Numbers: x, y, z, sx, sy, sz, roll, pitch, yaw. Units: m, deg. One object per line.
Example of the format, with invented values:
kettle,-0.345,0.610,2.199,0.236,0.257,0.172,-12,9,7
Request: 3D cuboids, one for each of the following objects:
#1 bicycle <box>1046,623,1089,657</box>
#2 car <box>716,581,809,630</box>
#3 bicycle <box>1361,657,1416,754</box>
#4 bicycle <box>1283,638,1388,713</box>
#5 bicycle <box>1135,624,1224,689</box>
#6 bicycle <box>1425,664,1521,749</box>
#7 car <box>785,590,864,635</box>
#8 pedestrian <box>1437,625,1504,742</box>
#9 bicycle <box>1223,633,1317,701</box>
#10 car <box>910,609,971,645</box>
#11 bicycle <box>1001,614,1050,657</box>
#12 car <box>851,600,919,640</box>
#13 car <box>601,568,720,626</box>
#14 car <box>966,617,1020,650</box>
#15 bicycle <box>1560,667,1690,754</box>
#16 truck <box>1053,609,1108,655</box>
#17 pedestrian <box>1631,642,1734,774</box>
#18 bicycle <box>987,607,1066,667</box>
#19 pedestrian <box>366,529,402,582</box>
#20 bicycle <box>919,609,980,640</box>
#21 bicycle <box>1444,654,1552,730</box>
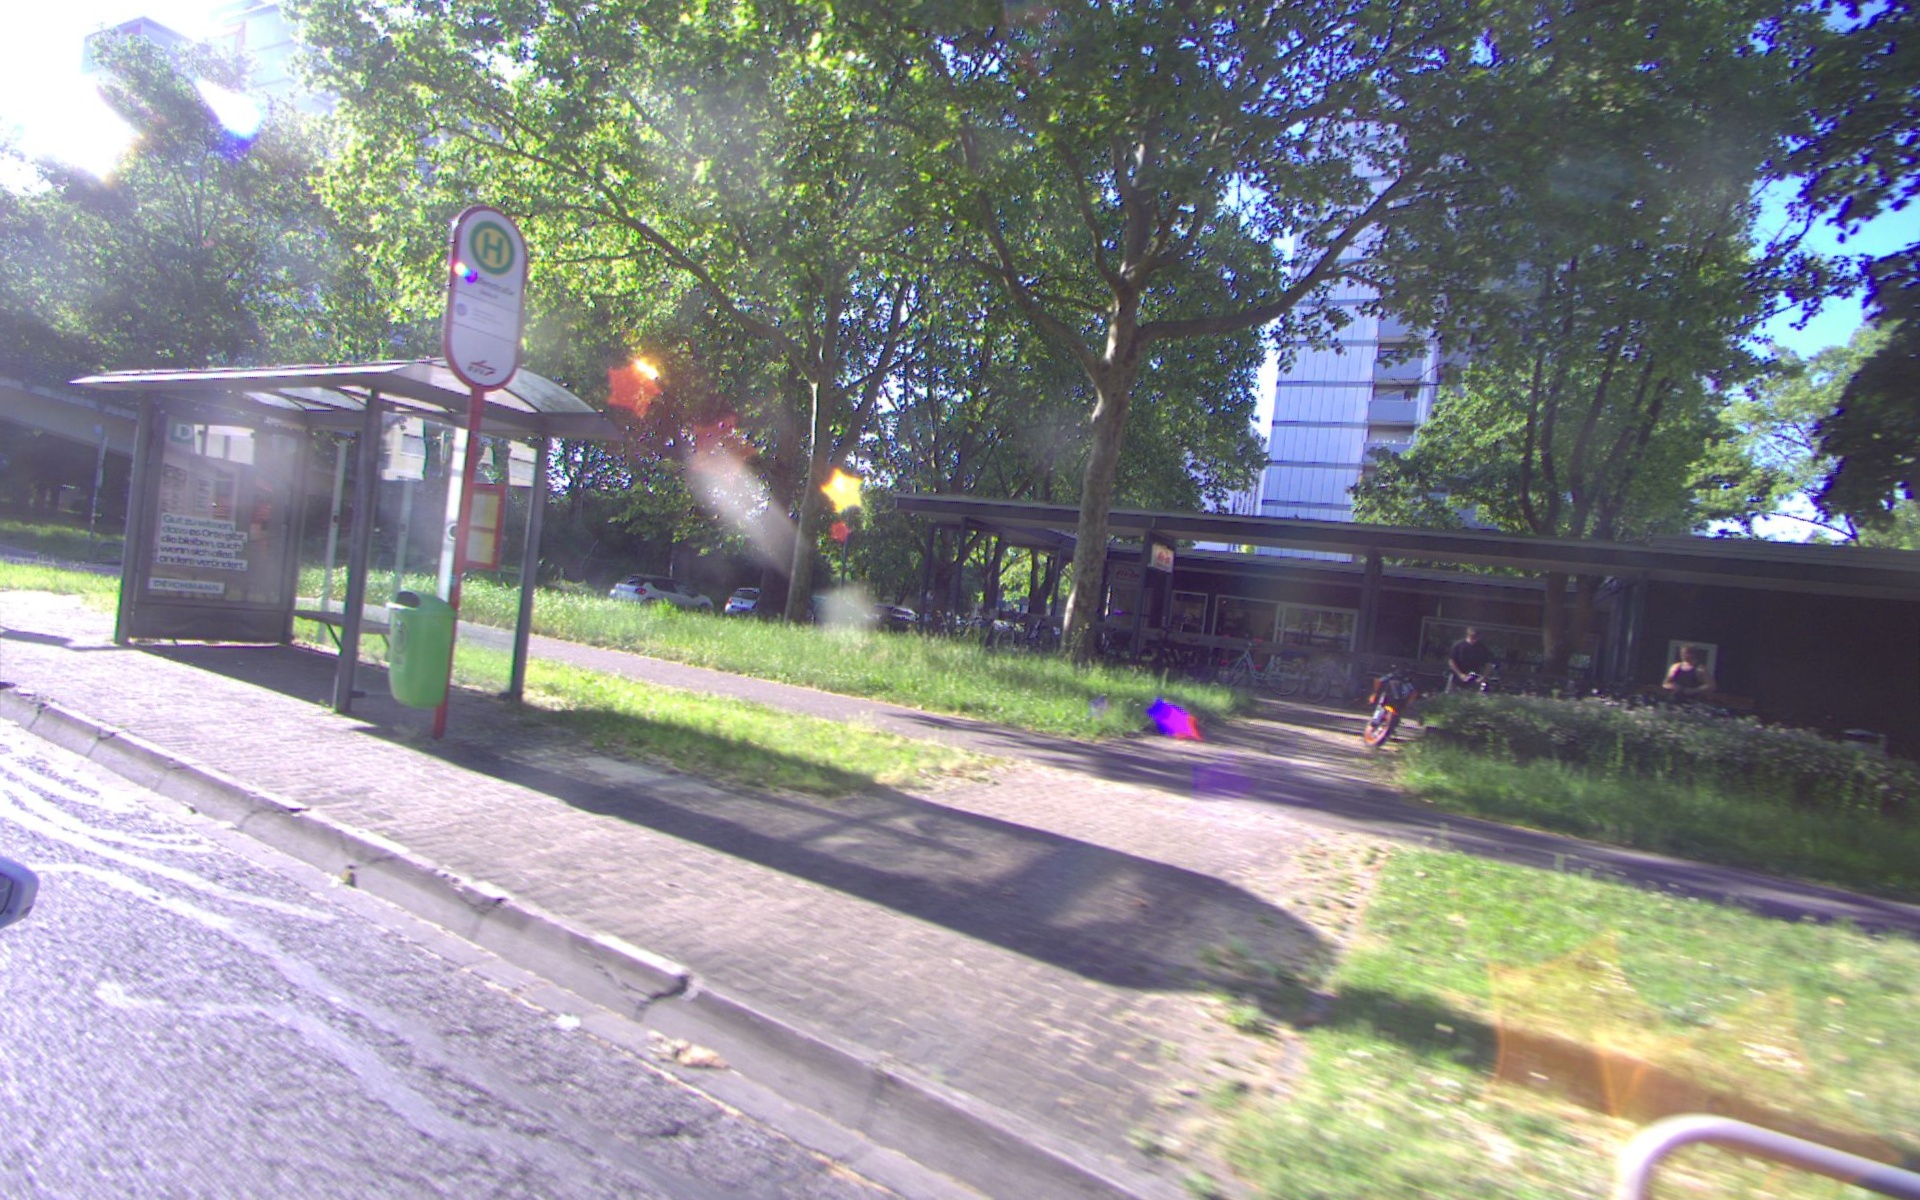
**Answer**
bicycle,3.416,1.262,31.883,0.698,0.967,1.803,6,2,25
car,-7.893,0.262,40.615,1.637,1.513,3.986,9,0,22
bicycle,6.030,1.441,14.229,0.551,1.172,2.072,7,1,22
bicycle,7.504,1.499,20.137,1.776,1.268,0.576,6,-1,31
bicycle,5.054,1.289,23.208,1.776,1.268,0.576,6,-1,31
bicycle,7.945,1.641,15.537,2.059,1.172,0.555,6,1,-44
car,-5.949,0.590,44.409,1.594,1.513,3.589,9,0,25
pedestrian,8.159,1.313,16.128,0.719,1.729,1.130,7,0,23
bicycle,6.825,1.480,22.206,1.776,1.268,0.576,6,-1,31
car,-1.001,1.470,53.643,1.556,1.513,3.588,9,0,27
bicycle,1.887,1.024,28.817,0.698,1.129,1.804,5,-1,25
car,-3.623,1.023,49.188,1.598,1.513,3.589,9,0,25
car,-10.490,-0.080,35.479,1.680,1.513,3.737,9,0,30
car,1.985,1.980,59.375,1.639,1.513,3.589,9,0,26
bicycle,11.696,1.935,17.768,1.776,1.268,0.576,6,-1,31
truck,8.852,2.387,73.238,1.882,2.852,5.181,9,0,28
pedestrian,11.163,1.643,15.589,0.935,1.863,0.967,7,1,24
bicycle,1.644,0.922,25.132,1.776,1.268,0.576,6,-1,31
pedestrian,-20.958,-1.620,36.635,0.726,1.799,0.660,8,1,24
bicycle,-0.400,0.882,36.201,2.158,0.972,0.505,3,-1,26
bicycle,10.780,1.833,20.186,1.776,1.268,0.576,6,-1,31
